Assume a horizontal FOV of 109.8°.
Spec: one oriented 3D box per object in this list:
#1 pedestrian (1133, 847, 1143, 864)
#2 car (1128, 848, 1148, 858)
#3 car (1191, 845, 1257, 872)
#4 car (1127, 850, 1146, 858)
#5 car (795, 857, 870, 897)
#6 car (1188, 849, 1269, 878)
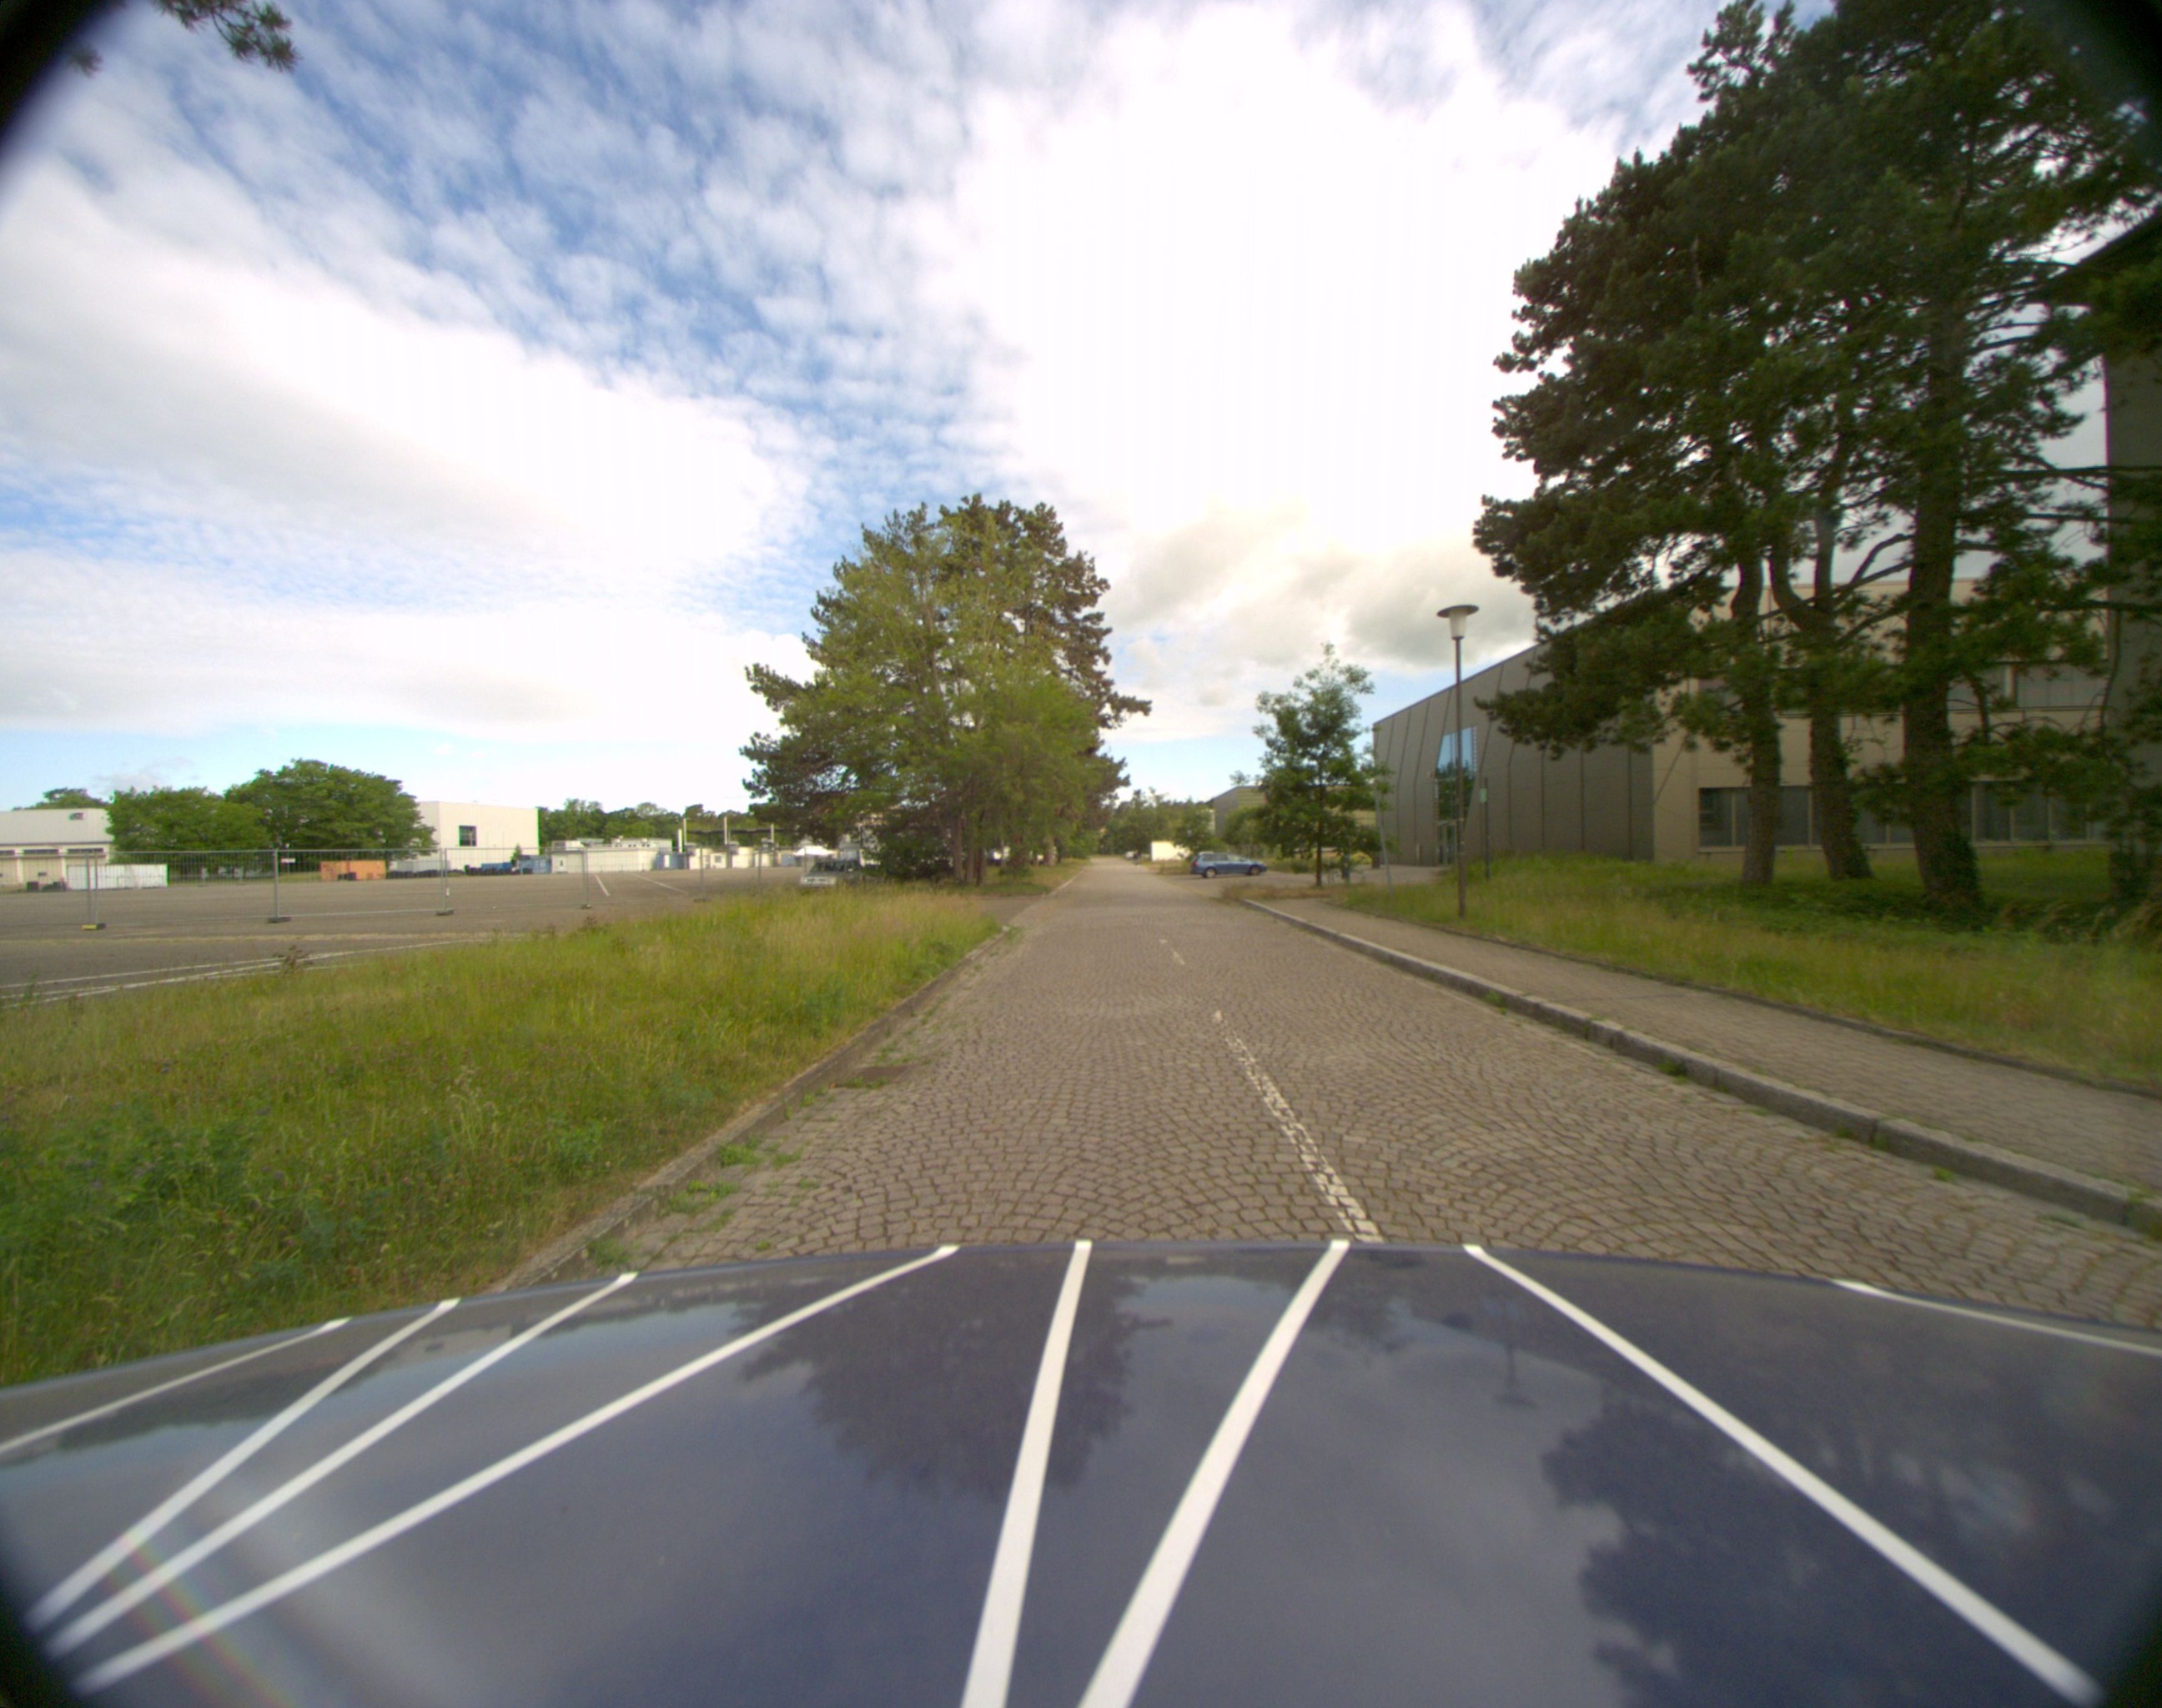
[{"bbox_3d":[5.907,0.153,78.771,0.874,1.713,1.007,-1,1,7],"label":"pedestrian"},{"bbox_3d":[12.097,-0.213,160.345,4.077,1.828,1.786,-1,1,4],"label":"car"},{"bbox_3d":[9.947,0.322,53.125,4.193,1.577,1.838,-4,1,-1],"label":"car"},{"bbox_3d":[11.841,-0.083,162.627,4.077,1.566,1.786,-1,1,4],"label":"car"},{"bbox_3d":[-10.239,0.893,31.645,1.863,1.466,4.149,-1,1,-2],"label":"car"},{"bbox_3d":[8.825,0.561,45.726,4.414,1.455,1.838,-4,1,-1],"label":"car"}]
